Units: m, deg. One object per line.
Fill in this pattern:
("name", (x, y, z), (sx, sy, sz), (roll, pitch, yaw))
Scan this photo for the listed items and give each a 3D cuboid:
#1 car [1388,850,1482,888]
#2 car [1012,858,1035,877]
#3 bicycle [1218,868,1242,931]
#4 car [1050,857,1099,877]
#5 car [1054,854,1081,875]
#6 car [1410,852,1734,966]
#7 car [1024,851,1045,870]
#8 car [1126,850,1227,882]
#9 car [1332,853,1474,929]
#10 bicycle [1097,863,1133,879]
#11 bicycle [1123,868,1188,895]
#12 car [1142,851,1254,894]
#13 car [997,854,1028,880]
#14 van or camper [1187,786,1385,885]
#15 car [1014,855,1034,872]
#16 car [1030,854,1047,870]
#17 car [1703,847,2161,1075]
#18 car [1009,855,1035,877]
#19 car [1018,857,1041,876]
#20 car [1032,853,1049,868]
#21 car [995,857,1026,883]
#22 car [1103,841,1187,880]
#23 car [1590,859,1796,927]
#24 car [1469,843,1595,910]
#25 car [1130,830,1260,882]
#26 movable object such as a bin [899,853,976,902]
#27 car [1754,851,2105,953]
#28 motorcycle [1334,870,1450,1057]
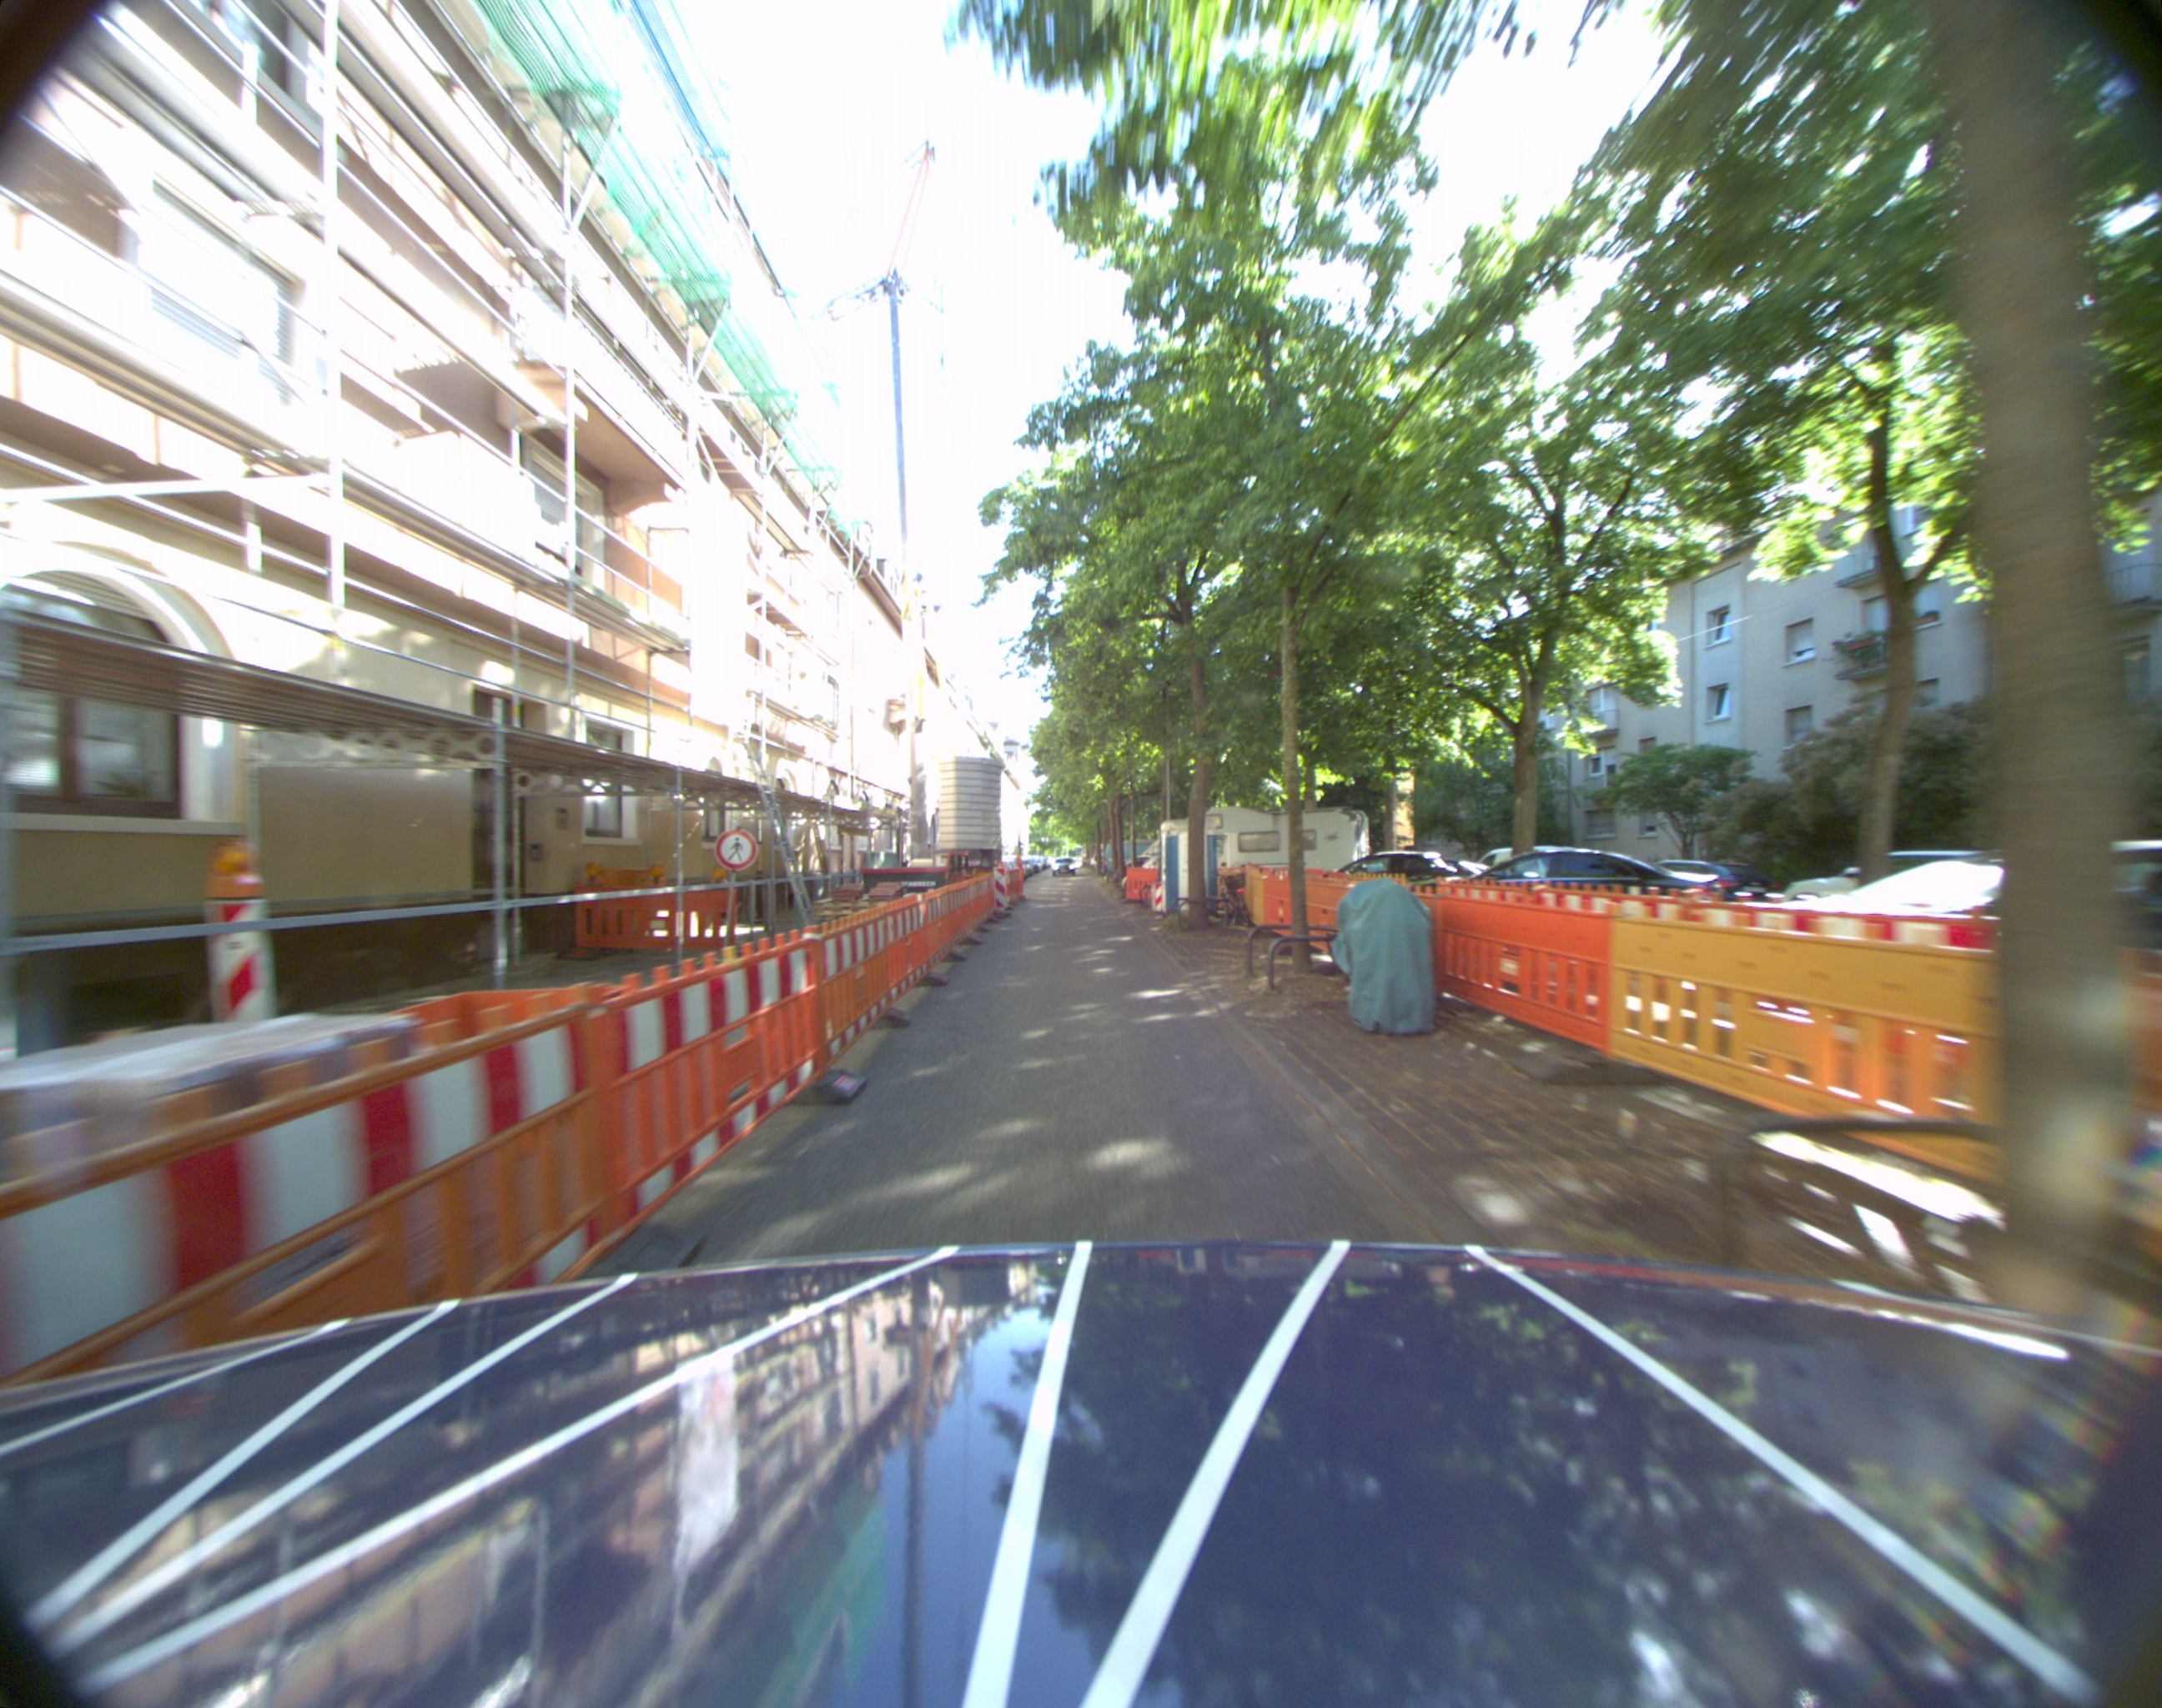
("car", (14.483, 0.578, 31.345), (1.999, 1.477, 3.999), (0, 0, -1))
("car", (-4.384, 1.025, 58.531), (1.577, 1.428, 3.606), (0, 0, -2))
("bicycle", (2.977, 0.883, 15.238), (0.281, 1.149, 1.551), (0, 0, 4))
("car", (-0.520, 0.996, 57.783), (3.265, 1.408, 1.750), (-1, 1, 31))
("car", (-1.044, 0.776, 60.270), (1.792, 1.510, 4.000), (-4, 0, 2))
("car", (7.452, 0.730, 11.889), (3.988, 1.510, 1.674), (0, 1, 33))
("car", (-4.455, 0.587, 73.637), (1.864, 1.772, 3.999), (0, 0, -2))
("car", (4.572, 0.541, 36.501), (4.512, 1.474, 1.741), (0, 0, 29))
("car", (7.797, 0.838, 18.417), (2.984, 1.707, 1.425), (0, 1, 31))
("bicycle", (2.114, 1.062, 46.765), (2.150, 0.964, 0.609), (0, 1, 6))
("bicycle", (2.785, 1.027, 28.380), (2.379, 0.972, 0.502), (-2, -2, 8))
("car", (4.578, 0.692, 29.780), (3.990, 1.607, 1.800), (0, 0, 25))
("car", (-4.298, 0.775, 48.166), (1.671, 1.590, 4.272), (0, 0, -2))
("van or camper", (6.807, -0.563, 25.441), (6.017, 2.984, 2.404), (0, 0, 28))
("car", (-4.748, 0.776, 63.775), (1.577, 1.446, 3.402), (0, 0, -2))
("car", (-4.797, 0.880, 85.750), (1.864, 1.772, 3.999), (0, 0, -2))
("car", (7.262, 0.679, 5.552), (3.904, 1.452, 1.580), (0, 1, 20))
("car", (-4.149, 0.811, 54.064), (1.671, 1.503, 3.606), (0, 0, -2))
("car", (-4.588, 1.113, 67.882), (1.864, 1.584, 3.999), (0, 0, -2))
("car", (-4.859, 0.806, 91.710), (1.864, 1.772, 3.999), (0, 0, -2))
("car", (-4.007, 0.877, 43.460), (1.671, 1.419, 3.971), (0, 0, -5))
("car", (3.635, 0.357, 43.251), (4.387, 2.155, 1.774), (0, 0, 26))
("car", (14.736, 0.868, 18.645), (1.723, 1.434, 4.126), (0, 0, 0))
("car", (14.721, 0.668, 25.105), (1.625, 2.002, 4.267), (-2, 0, 0))
("car", (5.803, 0.118, 38.897), (6.186, 2.497, 2.142), (0, 0, 26))
("movable object such as a bin", (-4.695, 0.737, 24.985), (1.872, 1.518, 1.631), (0, 0, 34))
("car", (14.851, 0.729, 13.727), (1.723, 1.550, 4.112), (0, 0, 0))
("motorcycle", (2.704, 0.856, 6.826), (0.631, 1.317, 2.231), (-2, 1, 15))
